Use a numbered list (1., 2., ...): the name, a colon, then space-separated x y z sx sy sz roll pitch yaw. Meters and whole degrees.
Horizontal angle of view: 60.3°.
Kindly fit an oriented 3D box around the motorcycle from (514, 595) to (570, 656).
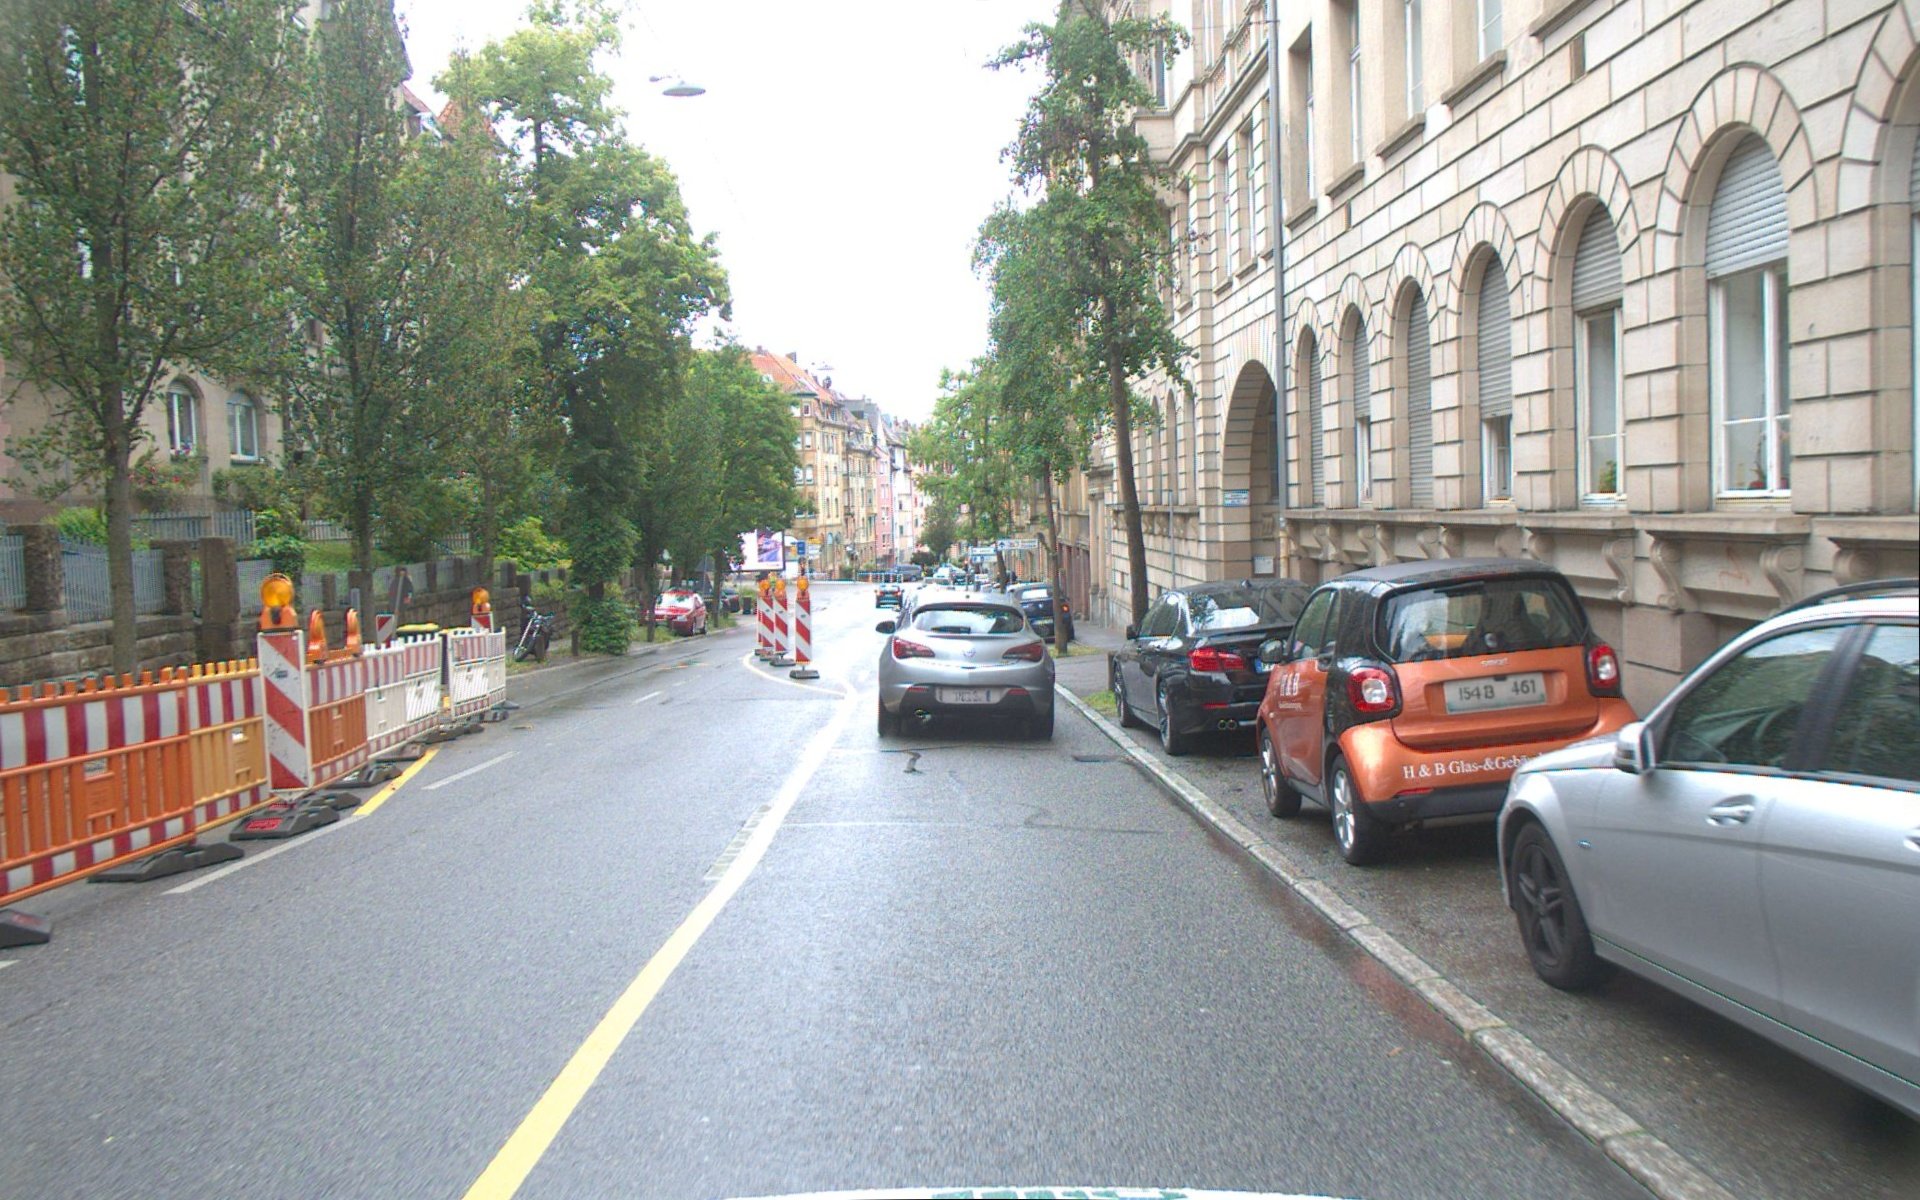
1. motorcycle: -9.603 0.572 38.052 0.750 1.369 2.202 1 0 -1

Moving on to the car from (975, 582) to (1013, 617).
1. car: 1.582 -0.046 77.335 1.604 1.551 3.857 -2 1 -1

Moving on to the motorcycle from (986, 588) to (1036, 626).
1. motorcycle: 1.738 0.239 56.192 0.645 1.257 1.973 0 0 38

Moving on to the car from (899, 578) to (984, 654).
1. car: -0.439 0.301 35.793 1.736 1.530 3.868 0 1 -2

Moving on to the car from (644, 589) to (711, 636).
1. car: -9.600 0.398 56.512 1.604 1.464 4.079 -2 1 -1

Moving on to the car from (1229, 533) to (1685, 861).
1. car: 2.784 0.466 9.973 1.606 1.546 3.182 -4 1 -2

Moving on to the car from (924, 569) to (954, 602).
1. car: -1.183 -0.824 93.717 1.623 1.813 3.665 0 1 -1

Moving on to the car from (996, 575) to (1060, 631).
1. car: 1.917 0.056 47.743 1.604 1.494 3.857 -2 1 -1

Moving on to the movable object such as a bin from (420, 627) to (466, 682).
1. movable object such as a bin: -9.007 0.950 28.816 0.591 0.923 0.624 1 1 0

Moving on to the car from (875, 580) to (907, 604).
1. car: -4.542 -0.547 108.905 1.953 1.527 3.999 -1 0 -1

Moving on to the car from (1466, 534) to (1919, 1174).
1. car: 3.016 0.556 4.571 1.661 1.456 4.421 -4 1 -2

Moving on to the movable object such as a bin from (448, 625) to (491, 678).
1. movable object such as a bin: -8.963 0.934 30.241 0.591 0.923 0.624 1 1 0

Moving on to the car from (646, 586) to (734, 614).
1. car: -13.882 0.004 84.966 4.247 1.265 1.633 -2 1 -20

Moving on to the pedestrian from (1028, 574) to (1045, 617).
1. pedestrian: 3.351 -0.192 72.427 0.701 1.903 0.635 1 0 -1

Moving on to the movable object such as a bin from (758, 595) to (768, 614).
1. movable object such as a bin: -11.805 0.263 99.174 0.613 1.077 0.719 1 0 -7

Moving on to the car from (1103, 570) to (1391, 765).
1. car: 2.576 0.520 16.006 1.722 1.486 4.722 -4 1 -2

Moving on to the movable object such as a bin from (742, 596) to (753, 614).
1. movable object such as a bin: -12.737 0.308 99.224 0.613 1.077 0.633 1 0 -7

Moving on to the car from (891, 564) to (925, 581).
1. car: -5.993 -3.182 191.107 3.906 1.780 2.000 1 0 -1

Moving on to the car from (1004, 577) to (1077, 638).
1. car: 2.037 0.165 42.632 1.604 1.454 3.376 -2 1 -2

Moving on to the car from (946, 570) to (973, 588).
1. car: -0.003 -2.045 160.735 1.951 1.713 4.003 1 0 9

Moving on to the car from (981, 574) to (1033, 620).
1. car: 1.737 -0.147 62.575 1.605 1.630 3.855 -2 1 -3

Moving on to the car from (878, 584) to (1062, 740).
1. car: 0.062 0.582 17.953 1.774 1.475 3.868 0 1 -1

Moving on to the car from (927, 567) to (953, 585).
1. car: -2.047 -2.477 169.189 1.951 1.713 4.003 1 0 9

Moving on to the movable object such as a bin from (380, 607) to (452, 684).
1. movable object such as a bin: -9.152 0.759 27.859 0.925 1.235 0.856 1 1 0
